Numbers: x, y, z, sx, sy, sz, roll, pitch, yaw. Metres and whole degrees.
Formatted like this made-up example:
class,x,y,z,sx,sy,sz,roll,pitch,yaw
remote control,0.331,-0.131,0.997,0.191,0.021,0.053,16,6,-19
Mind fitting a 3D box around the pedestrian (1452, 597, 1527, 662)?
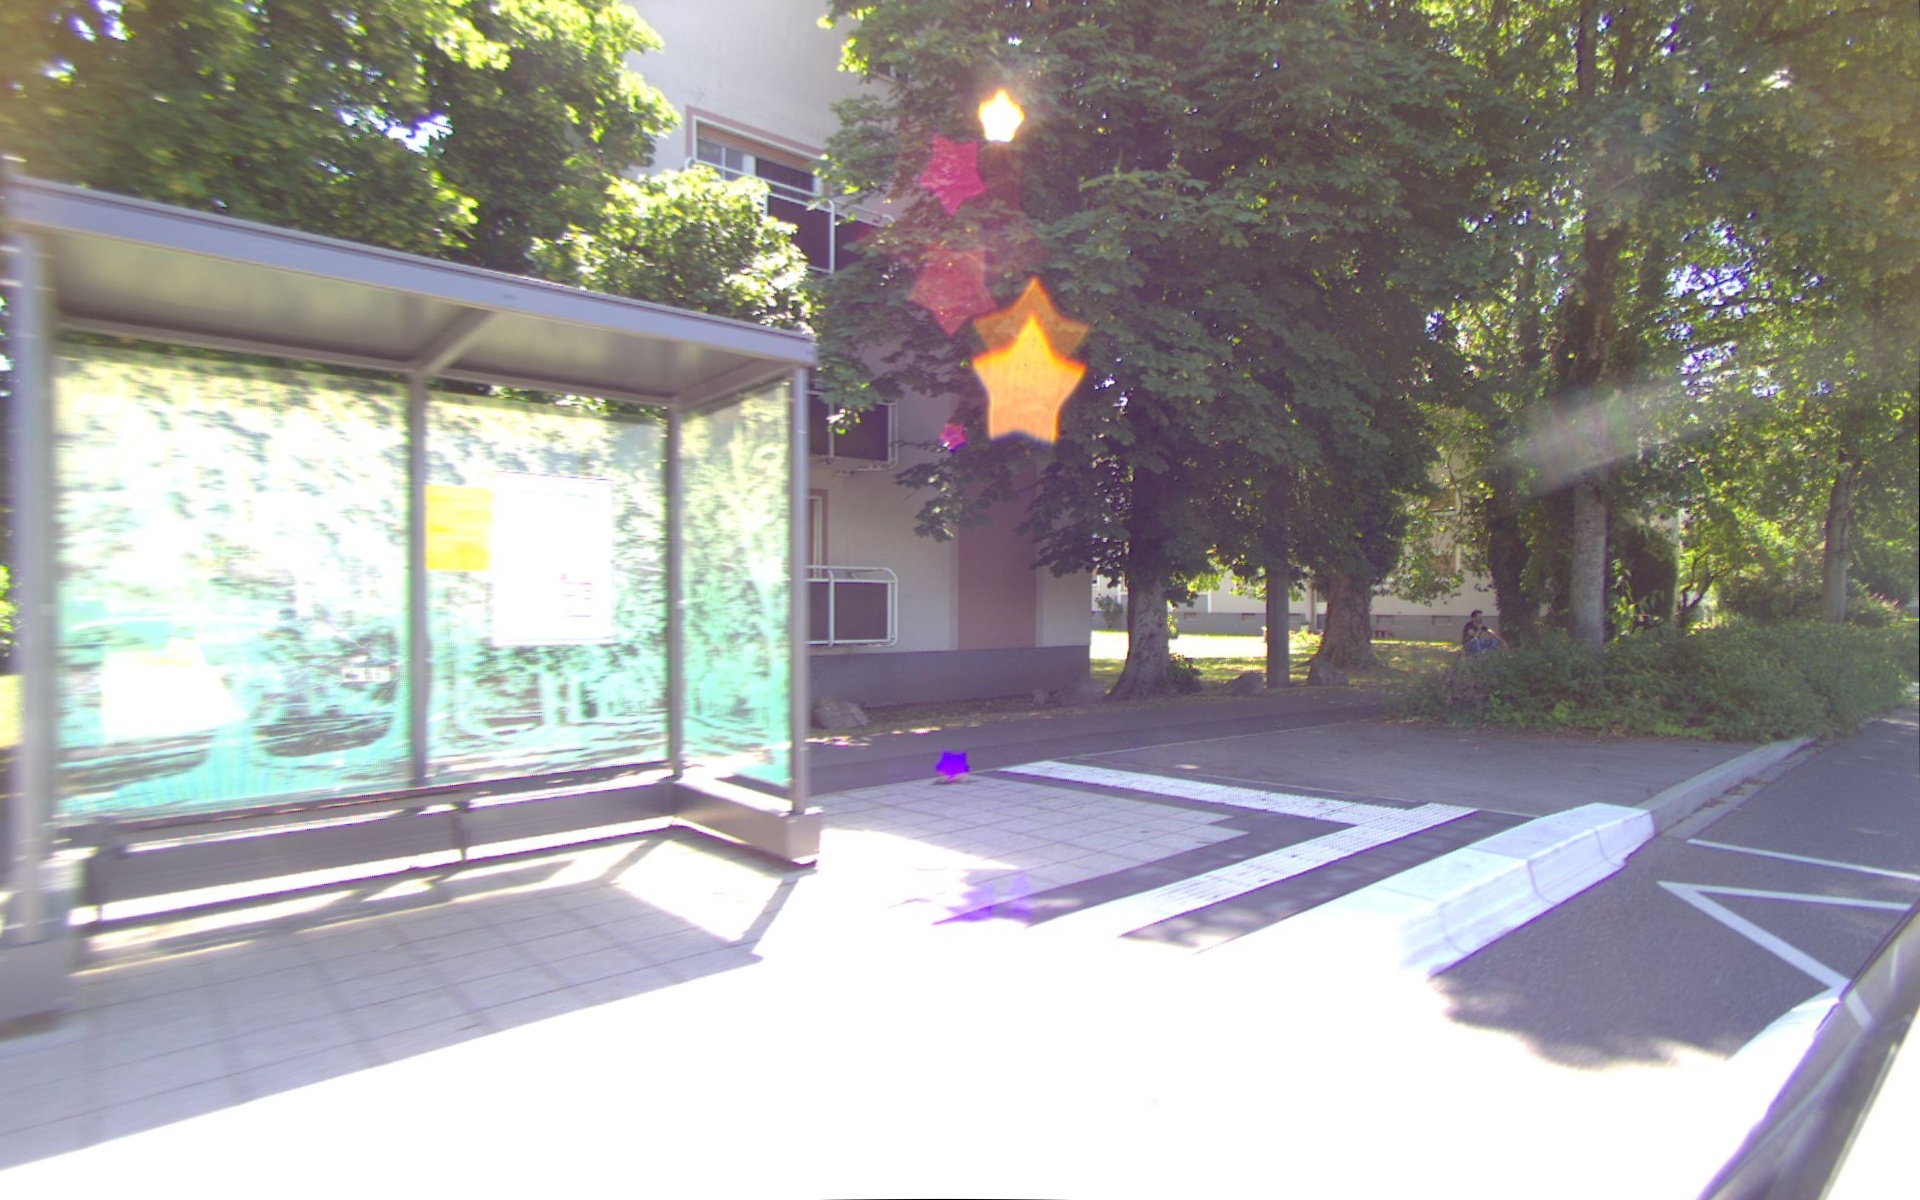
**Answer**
class,x,y,z,sx,sy,sz,roll,pitch,yaw
pedestrian,10.996,0.593,21.015,1.047,1.309,0.943,0,0,-27
